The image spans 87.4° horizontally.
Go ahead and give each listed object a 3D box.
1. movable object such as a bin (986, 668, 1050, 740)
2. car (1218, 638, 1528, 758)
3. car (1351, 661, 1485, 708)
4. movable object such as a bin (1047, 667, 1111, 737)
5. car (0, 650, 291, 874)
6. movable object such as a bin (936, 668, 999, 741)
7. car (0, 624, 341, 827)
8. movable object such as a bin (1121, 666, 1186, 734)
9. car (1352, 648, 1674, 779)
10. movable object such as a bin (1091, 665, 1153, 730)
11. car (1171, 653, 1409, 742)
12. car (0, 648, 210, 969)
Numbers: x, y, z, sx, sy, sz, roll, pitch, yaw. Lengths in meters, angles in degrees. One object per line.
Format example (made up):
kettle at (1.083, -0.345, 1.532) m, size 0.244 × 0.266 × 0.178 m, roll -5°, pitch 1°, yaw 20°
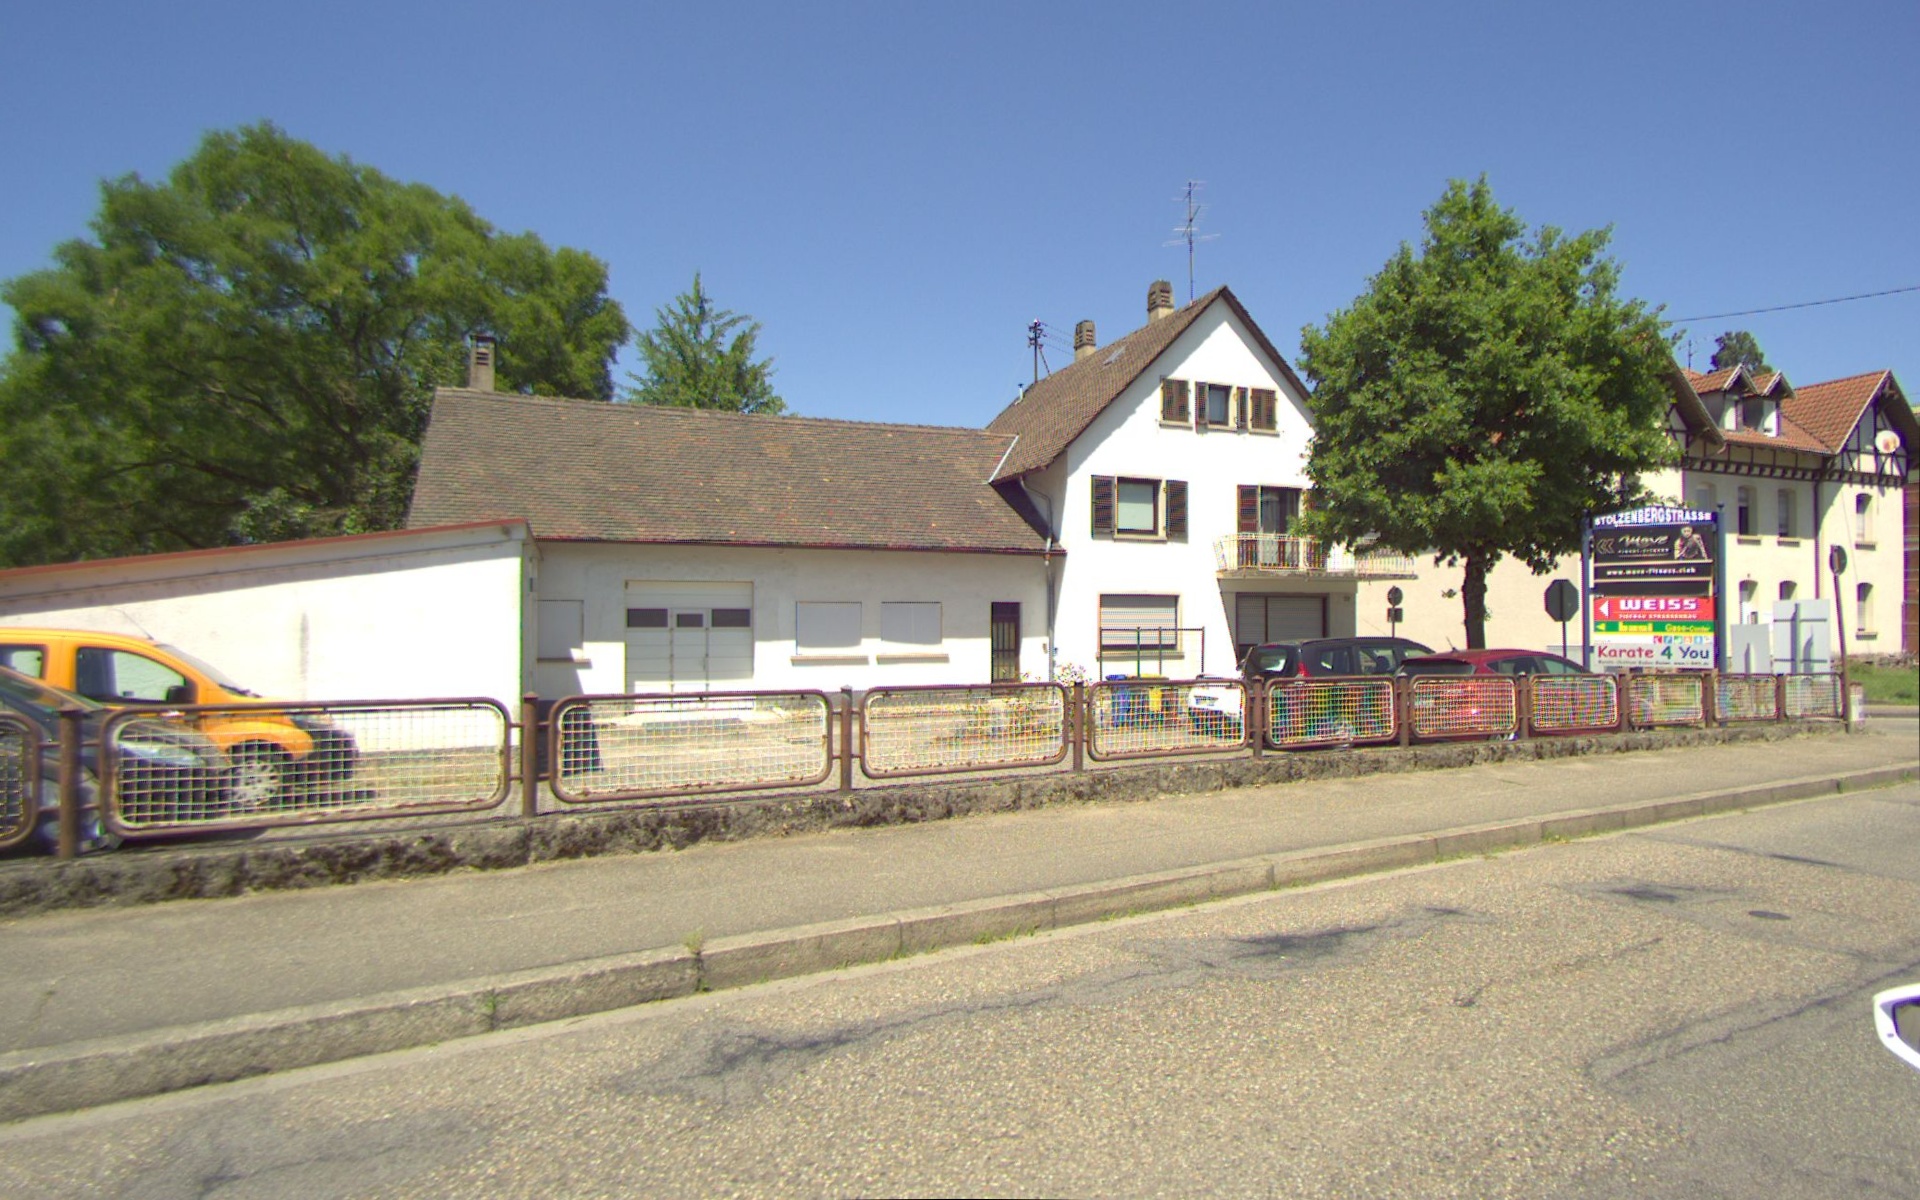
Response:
movable object such as a bin at (1.027, 1.837, 17.982) m, size 0.890 × 1.227 × 0.885 m, roll 1°, pitch -3°, yaw -18°
car at (6.539, 1.474, 15.935) m, size 4.555 × 1.700 × 1.792 m, roll 1°, pitch -3°, yaw -21°
car at (15.335, 2.792, 33.840) m, size 1.774 × 1.452 × 3.981 m, roll 1°, pitch -4°, yaw -22°
movable object such as a bin at (2.169, 1.845, 18.395) m, size 0.890 × 1.227 × 0.885 m, roll 1°, pitch -3°, yaw -18°
car at (-7.599, 1.139, 7.526) m, size 3.942 × 1.538 × 1.791 m, roll 2°, pitch -4°, yaw -22°
movable object such as a bin at (0.120, 1.814, 17.716) m, size 0.890 × 1.227 × 0.885 m, roll 1°, pitch -3°, yaw -18°
car at (-8.407, 1.150, 9.775) m, size 3.955 × 1.765 × 1.786 m, roll 3°, pitch -4°, yaw -31°
movable object such as a bin at (3.628, 1.858, 18.909) m, size 0.890 × 1.227 × 0.885 m, roll 1°, pitch -3°, yaw -18°
car at (7.455, 1.427, 13.558) m, size 3.944 × 1.538 × 1.790 m, roll 1°, pitch -3°, yaw -24°
movable object such as a bin at (3.184, 1.908, 19.790) m, size 0.890 × 1.227 × 0.885 m, roll 1°, pitch -3°, yaw -18°
car at (6.001, 1.710, 18.293) m, size 3.944 × 1.452 × 1.790 m, roll 1°, pitch -3°, yaw -24°
car at (-6.283, 0.983, 4.903) m, size 3.955 × 1.538 × 1.786 m, roll 3°, pitch -4°, yaw -31°
